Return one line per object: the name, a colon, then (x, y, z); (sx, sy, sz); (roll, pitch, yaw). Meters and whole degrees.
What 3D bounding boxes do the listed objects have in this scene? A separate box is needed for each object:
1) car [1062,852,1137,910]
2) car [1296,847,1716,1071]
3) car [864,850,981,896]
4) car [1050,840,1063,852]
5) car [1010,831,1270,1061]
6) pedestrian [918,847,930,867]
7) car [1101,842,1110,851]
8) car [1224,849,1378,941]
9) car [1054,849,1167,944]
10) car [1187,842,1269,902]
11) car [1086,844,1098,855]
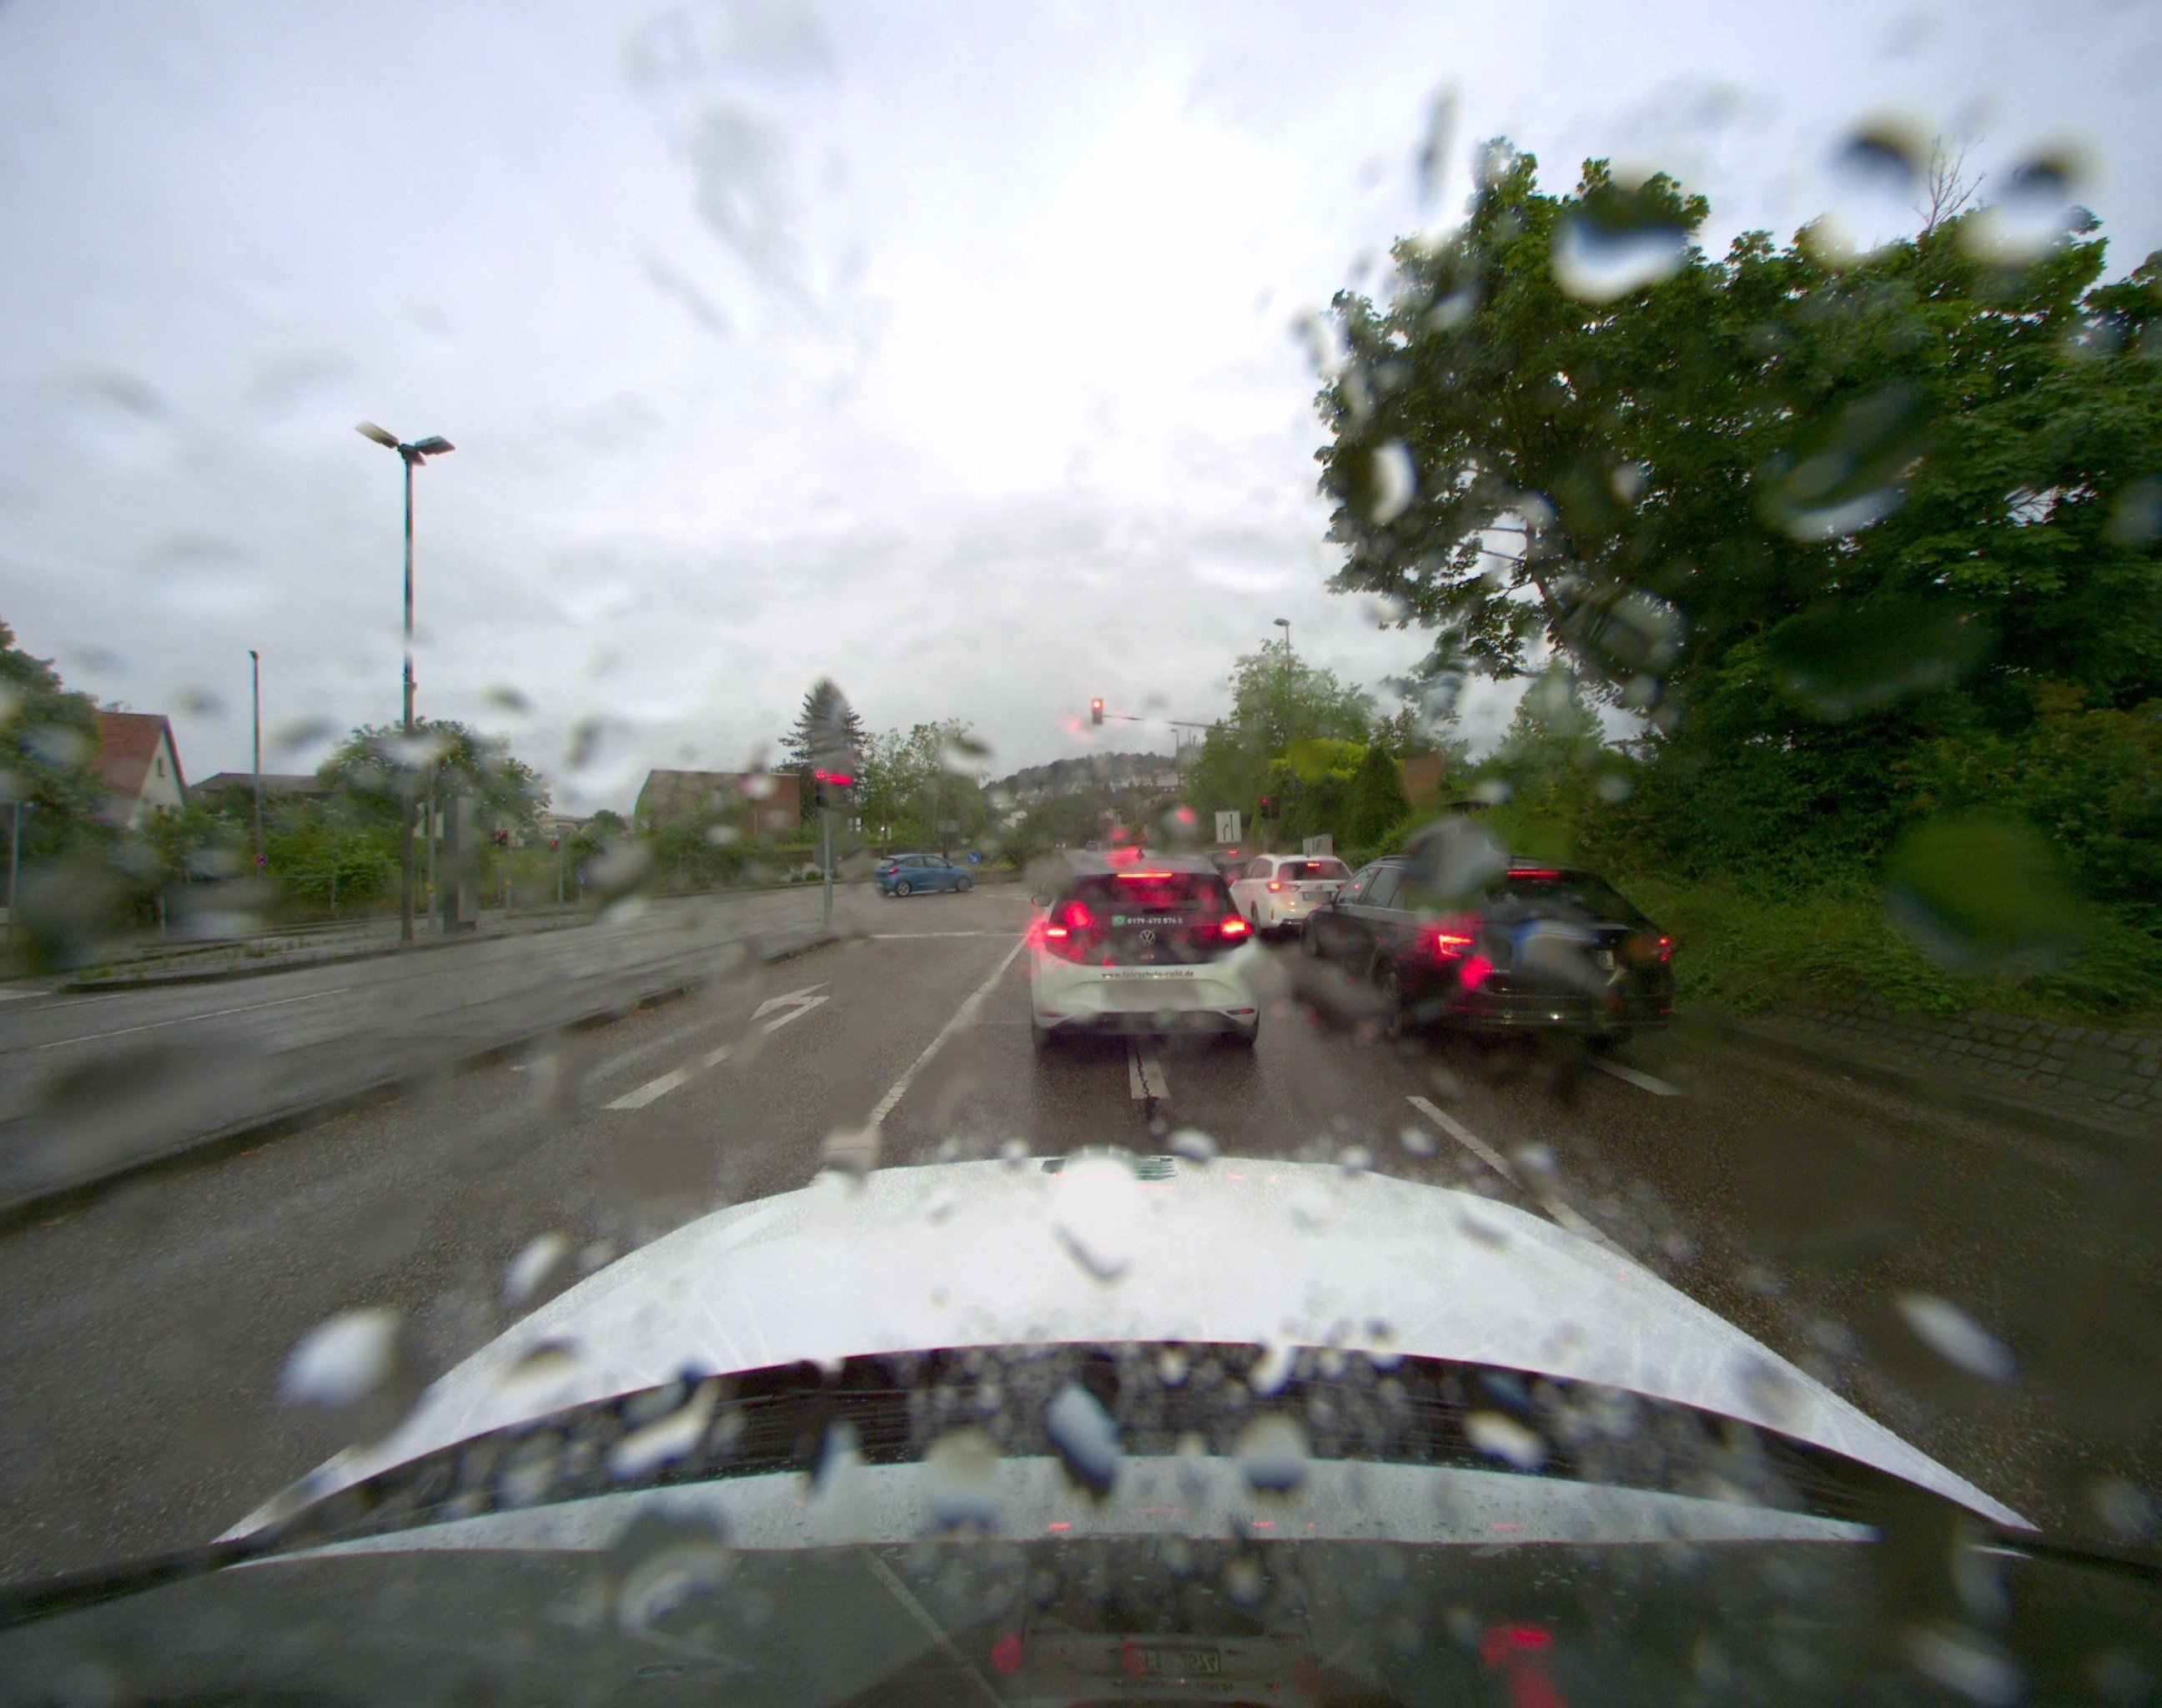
car: (0.504, 0.649, 21.772); (1.831, 1.400, 3.832); (0, 0, 1)
car: (3.361, 0.672, 7.530); (1.830, 1.466, 4.353); (0, 0, 3)
car: (-5.725, 0.666, 29.644); (3.769, 1.418, 1.746); (-3, 1, -41)
car: (-4.161, -1.324, 140.632); (1.986, 2.014, 4.002); (-1, -1, 2)
car: (0.469, 0.634, 8.063); (1.831, 1.629, 4.617); (0, 0, 1)
pedestrian: (-13.239, 0.242, 68.651); (0.757, 1.568, 0.825); (-4, 0, 1)
car: (4.902, -1.472, 162.931); (1.769, 1.581, 4.002); (-3, 0, 2)
car: (3.857, 0.642, 15.005); (1.831, 1.466, 4.118); (0, 0, 1)
car: (0.532, 0.677, 15.321); (1.831, 1.555, 4.176); (0, 0, 1)
car: (4.121, 0.477, 23.412); (1.769, 1.581, 4.002); (0, 0, 2)
car: (1.844, -0.763, 132.004); (1.769, 1.581, 4.002); (-3, 0, 2)
